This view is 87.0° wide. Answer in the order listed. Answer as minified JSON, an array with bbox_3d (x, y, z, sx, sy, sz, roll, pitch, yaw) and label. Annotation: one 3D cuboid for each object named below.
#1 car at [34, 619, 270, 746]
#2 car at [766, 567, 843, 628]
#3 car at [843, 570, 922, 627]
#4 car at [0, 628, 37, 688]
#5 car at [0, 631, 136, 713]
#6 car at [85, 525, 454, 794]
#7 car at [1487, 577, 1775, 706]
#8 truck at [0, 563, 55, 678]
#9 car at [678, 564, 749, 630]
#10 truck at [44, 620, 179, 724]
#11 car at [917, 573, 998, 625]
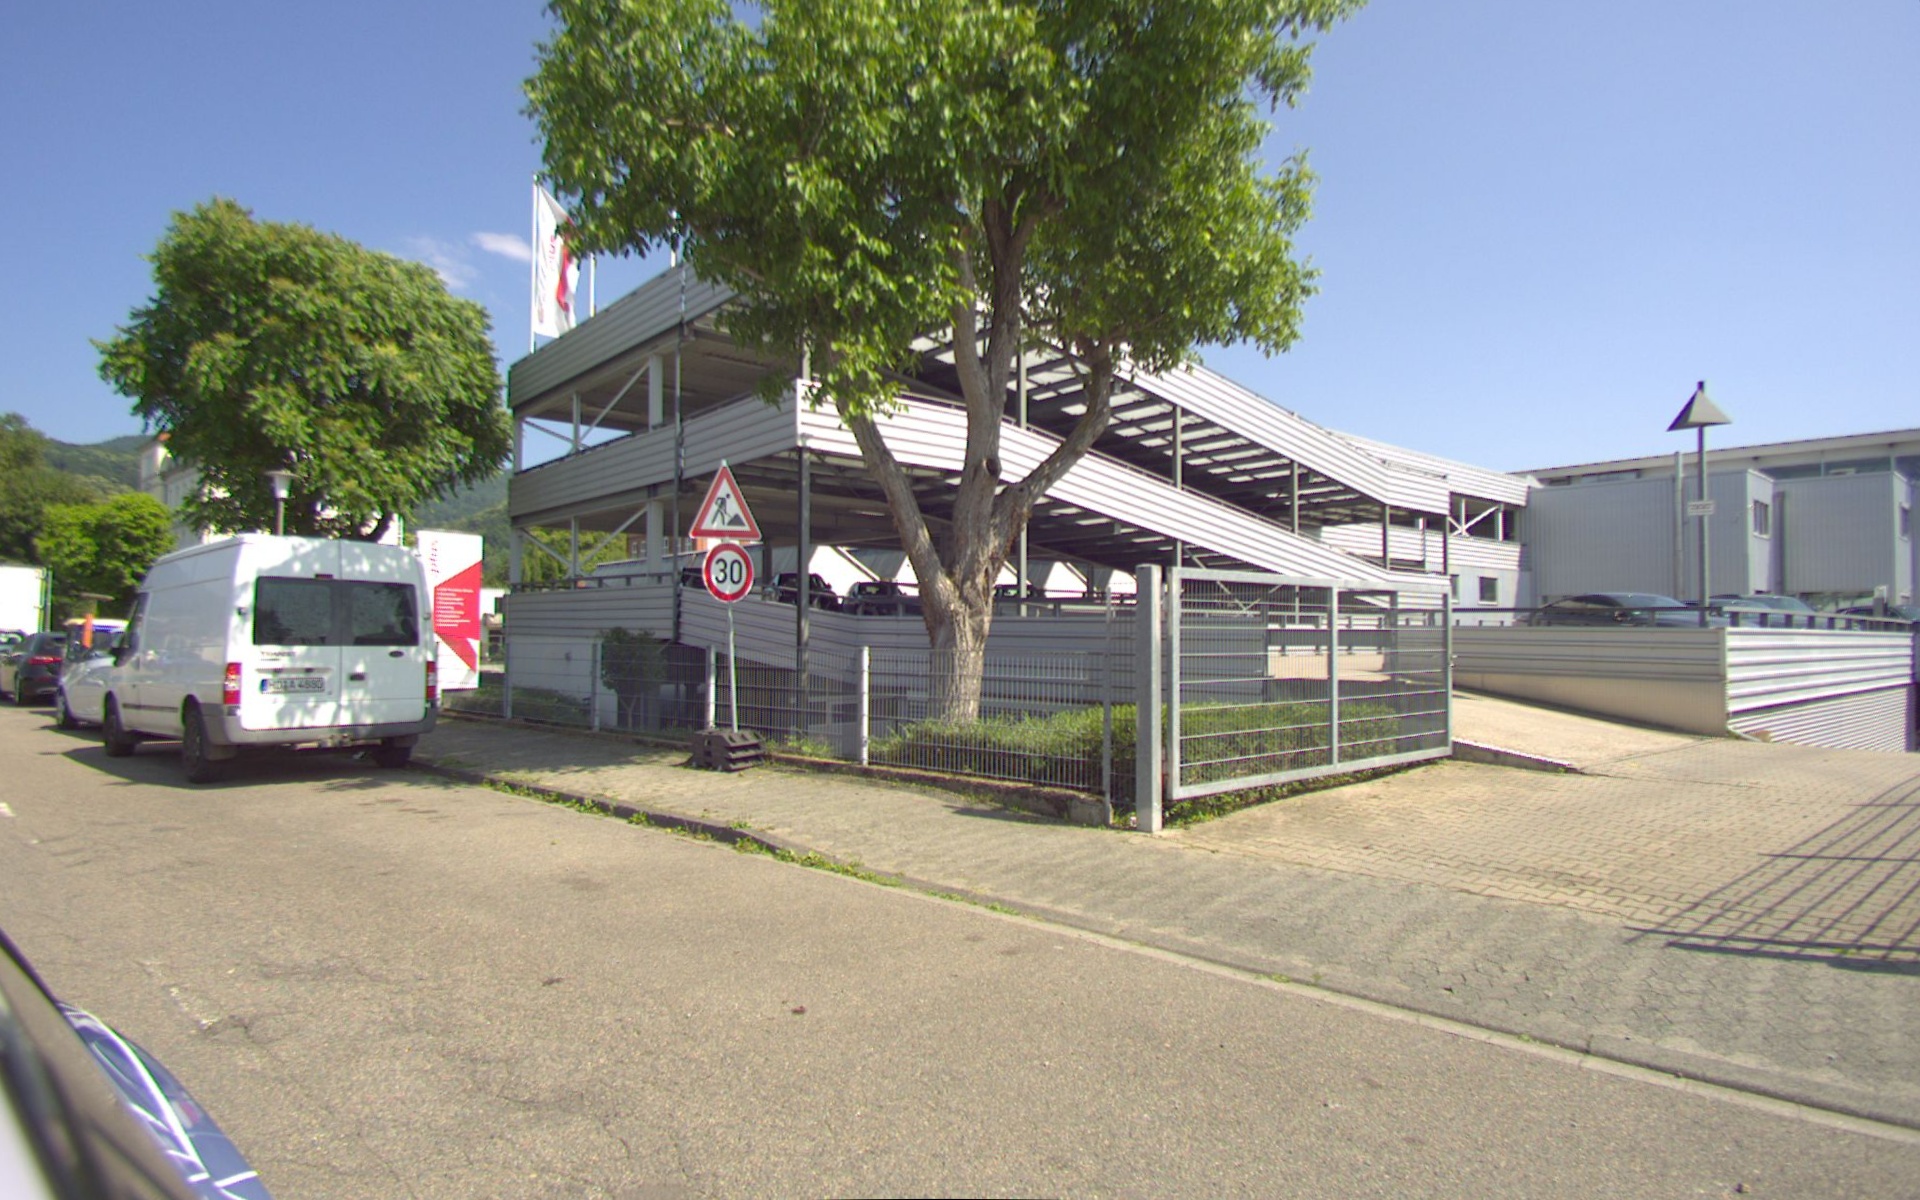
[{"bbox_3d":[-11.965,1.146,14.917,3.966,1.636,1.689,-1,-5,37],"label":"car"},{"bbox_3d":[-4.724,-0.075,30.381,1.787,1.684,4.012,1,0,-15],"label":"car"},{"bbox_3d":[-2.559,-0.058,32.525,1.787,1.684,4.012,1,0,-15],"label":"car"},{"bbox_3d":[-26.583,1.540,27.626,4.311,1.533,1.722,-2,-4,44],"label":"car"},{"bbox_3d":[-18.212,1.386,20.386,4.110,1.474,1.687,-1,-4,40],"label":"car"},{"bbox_3d":[-7.942,0.626,11.418,5.224,2.384,1.985,-1,-4,40],"label":"car"},{"bbox_3d":[12.022,0.808,18.498,1.966,2.029,4.012,3,-4,-17],"label":"car"},{"bbox_3d":[-31.181,0.610,32.090,7.125,3.392,2.657,0,-2,41],"label":"truck"},{"bbox_3d":[-6.969,-0.084,28.384,1.787,1.684,4.012,1,0,-15],"label":"car"},{"bbox_3d":[-14.578,1.189,17.342,3.138,1.634,1.127,-1,-4,39],"label":"truck"},{"bbox_3d":[-0.162,-0.054,35.051,1.787,1.684,4.012,1,0,-15],"label":"car"}]
